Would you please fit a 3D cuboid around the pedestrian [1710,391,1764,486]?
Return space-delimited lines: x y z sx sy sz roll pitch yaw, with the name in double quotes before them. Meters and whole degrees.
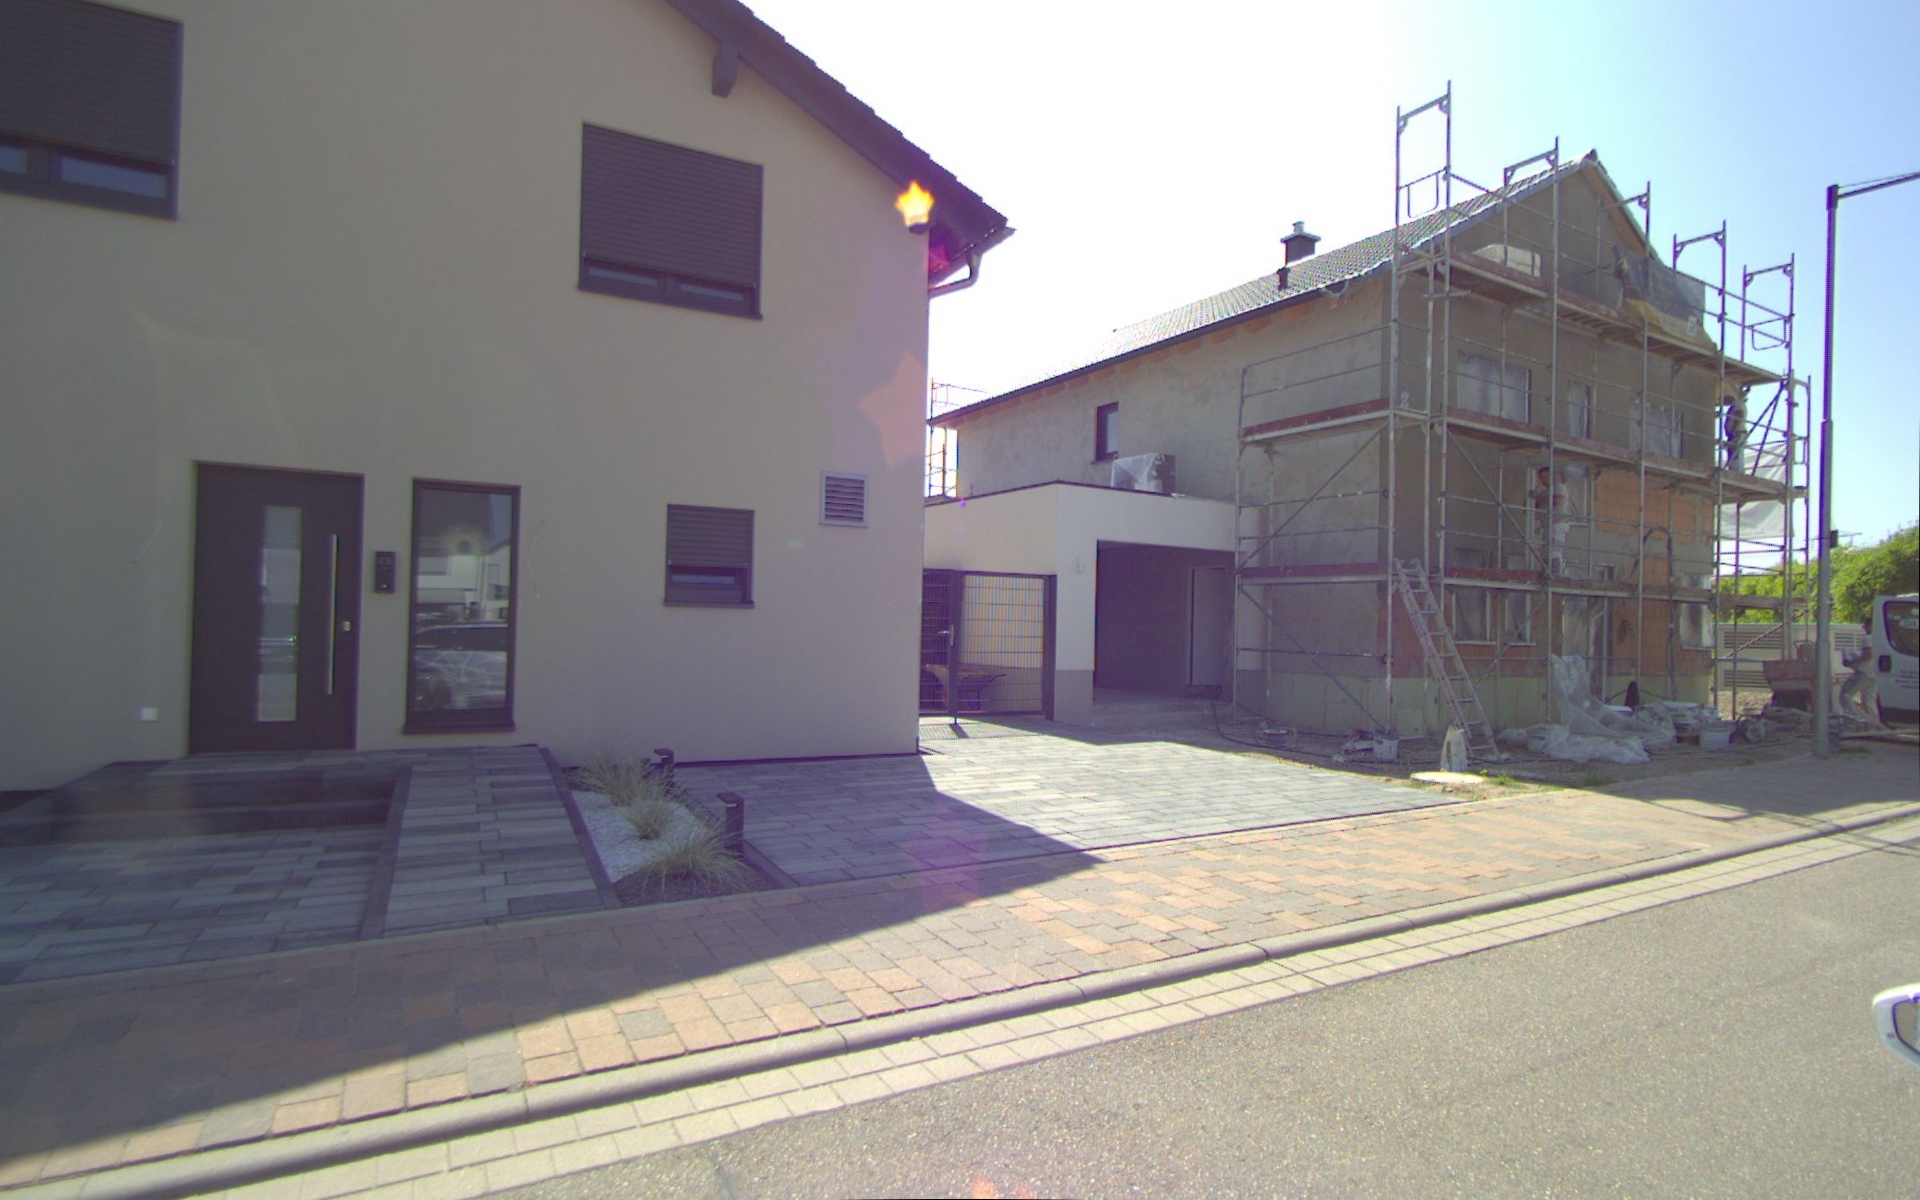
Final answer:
"pedestrian" 13.765 -2.843 17.813 0.552 1.519 0.748 2 -3 23

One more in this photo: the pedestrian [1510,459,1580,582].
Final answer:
"pedestrian" 8.473 -1.143 14.577 0.733 1.701 0.579 2 -2 18
